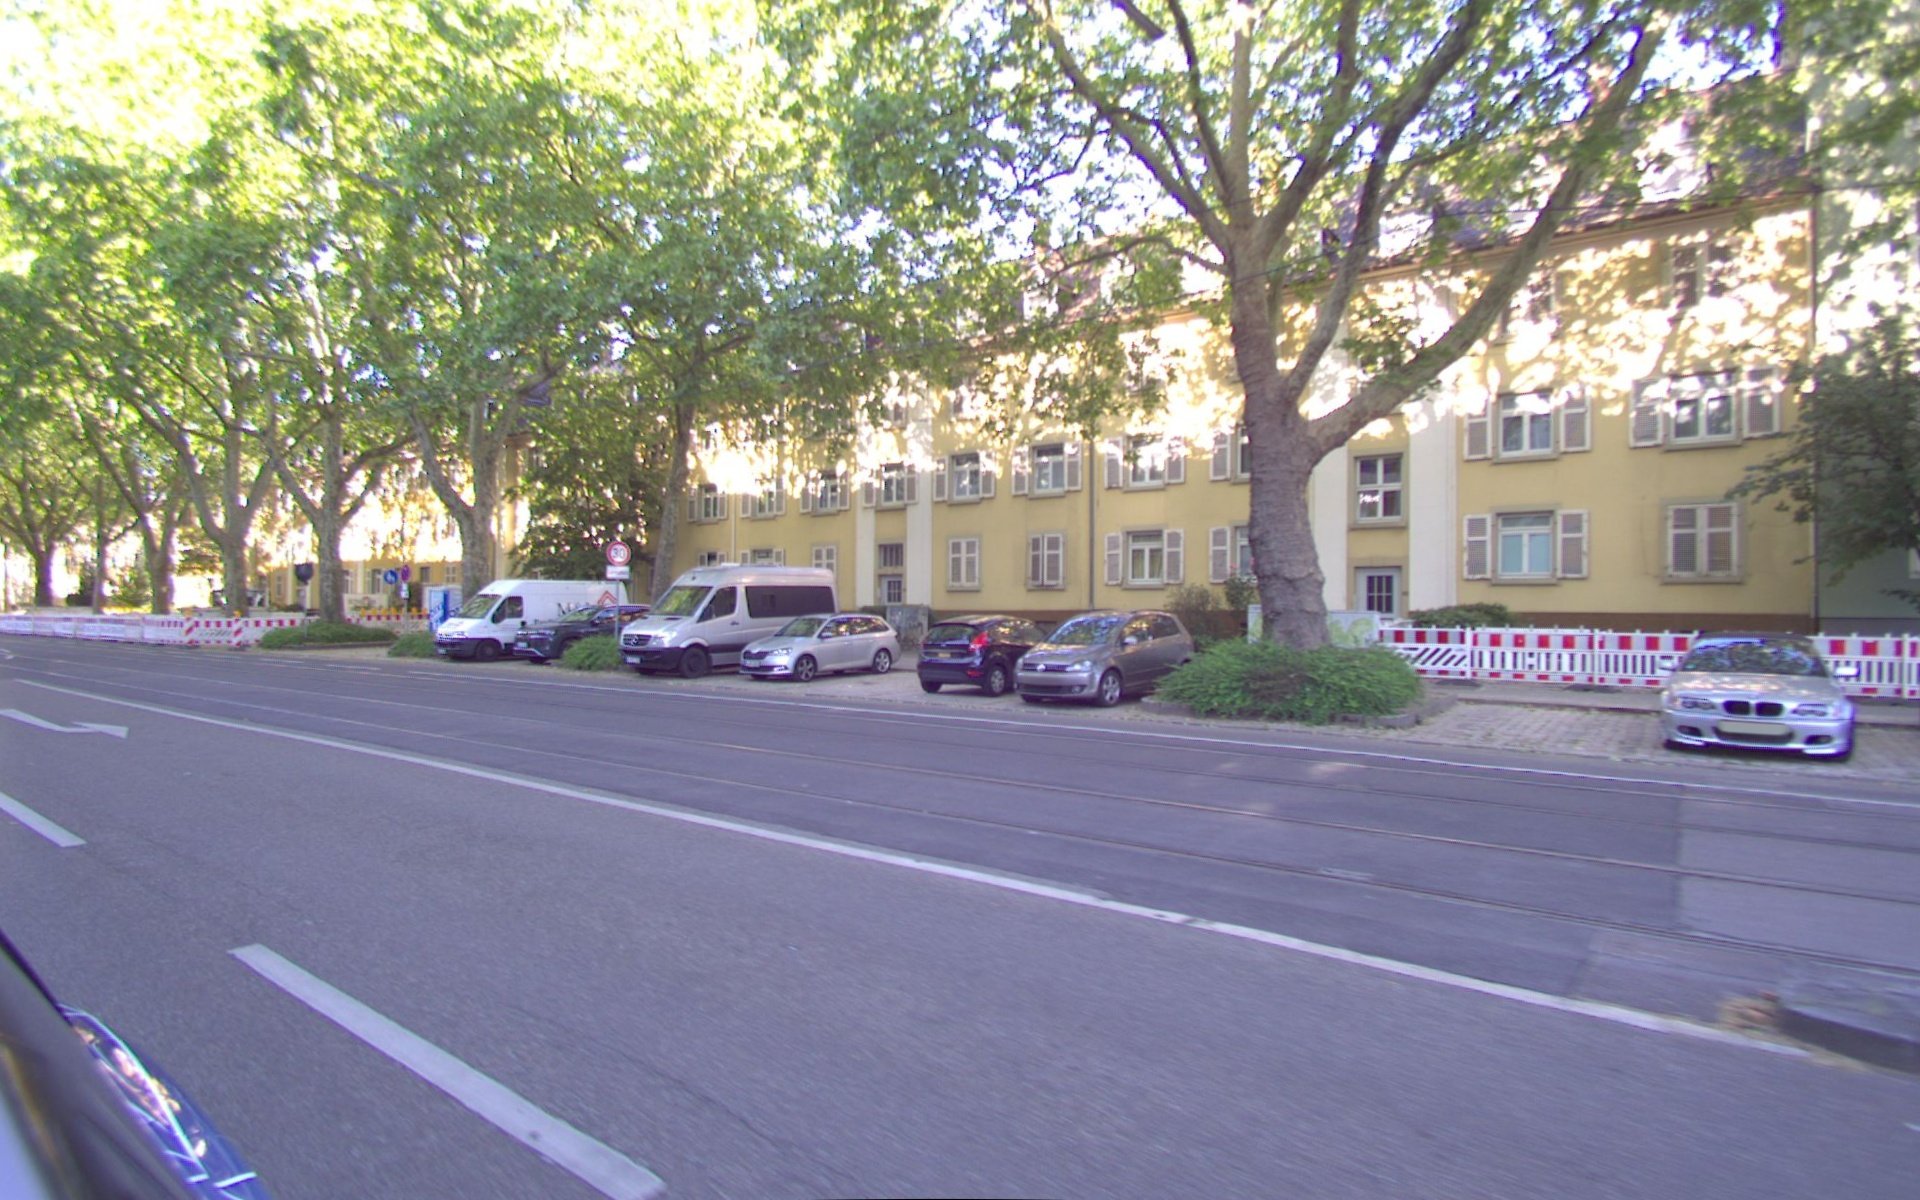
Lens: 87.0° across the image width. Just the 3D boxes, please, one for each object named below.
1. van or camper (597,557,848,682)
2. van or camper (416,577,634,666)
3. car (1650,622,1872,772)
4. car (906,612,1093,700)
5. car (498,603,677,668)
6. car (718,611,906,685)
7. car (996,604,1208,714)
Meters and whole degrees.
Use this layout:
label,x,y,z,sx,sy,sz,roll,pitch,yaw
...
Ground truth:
label,x,y,z,sx,sy,sz,roll,pitch,yaw
van or camper,-5.561,0.386,24.547,2.154,2.668,5.859,1,1,38
van or camper,-12.892,0.557,30.378,2.154,2.403,5.692,1,1,38
car,9.744,1.019,12.327,1.843,1.379,4.029,1,1,40
car,0.857,1.008,19.703,1.692,1.457,3.813,1,1,40
car,-10.361,0.922,28.442,1.692,1.645,4.483,1,1,40
car,-3.268,1.016,23.045,1.692,1.457,4.222,1,1,40
car,2.582,0.907,17.660,1.843,1.631,4.029,1,1,40
